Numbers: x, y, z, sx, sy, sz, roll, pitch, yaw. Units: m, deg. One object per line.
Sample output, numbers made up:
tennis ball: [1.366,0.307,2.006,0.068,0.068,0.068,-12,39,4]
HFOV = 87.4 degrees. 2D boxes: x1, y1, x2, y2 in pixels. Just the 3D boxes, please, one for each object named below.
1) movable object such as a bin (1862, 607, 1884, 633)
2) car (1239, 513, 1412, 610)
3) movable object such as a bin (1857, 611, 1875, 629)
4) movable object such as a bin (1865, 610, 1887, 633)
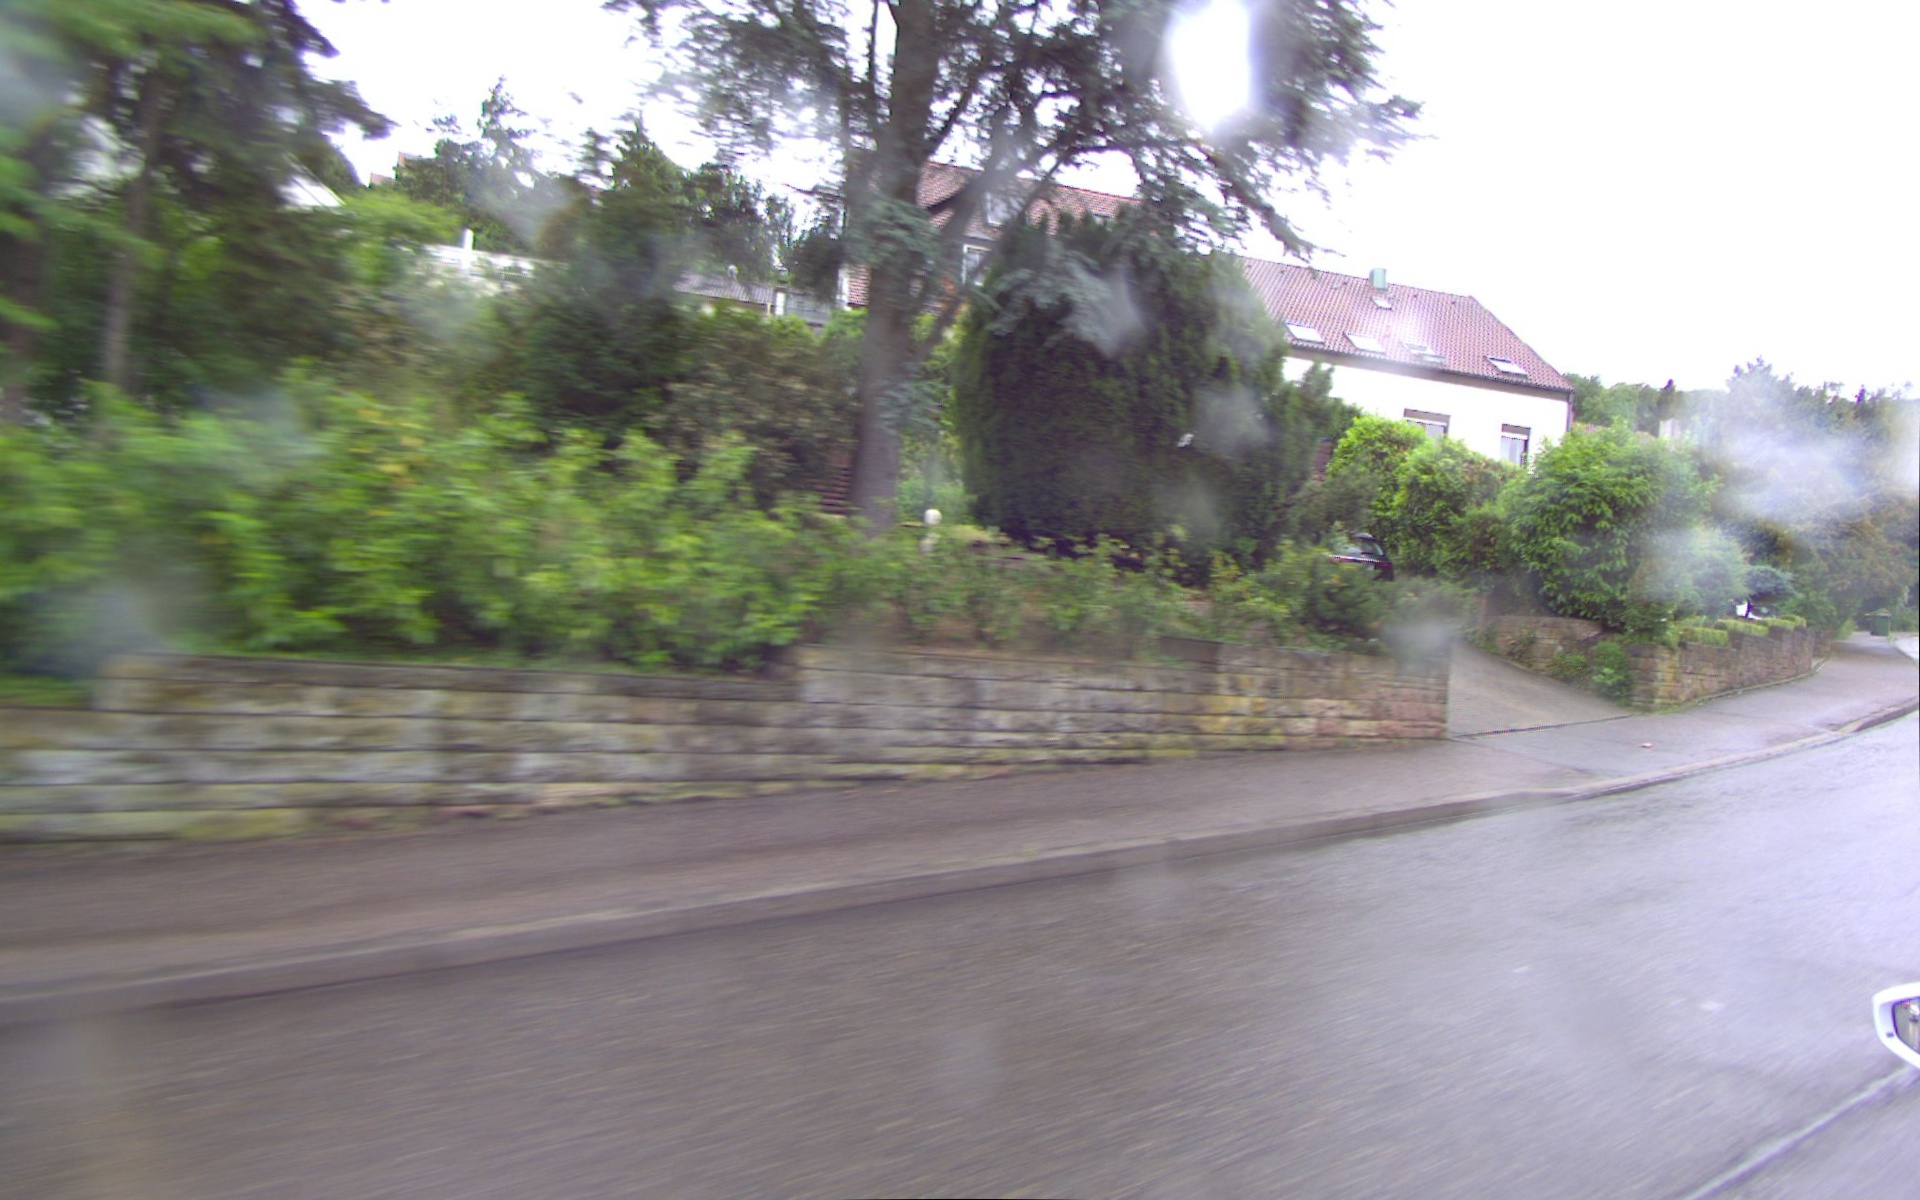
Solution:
movable object such as a bin: [46.477,1.015,51.151,0.732,1.270,0.754,3,2,40]
car: [7.621,-0.899,21.357,1.700,1.545,3.788,2,9,-10]
movable object such as a bin: [54.029,1.179,59.906,0.746,1.036,0.740,3,2,42]
movable object such as a bin: [45.972,1.098,50.437,0.732,1.108,0.754,3,2,40]
